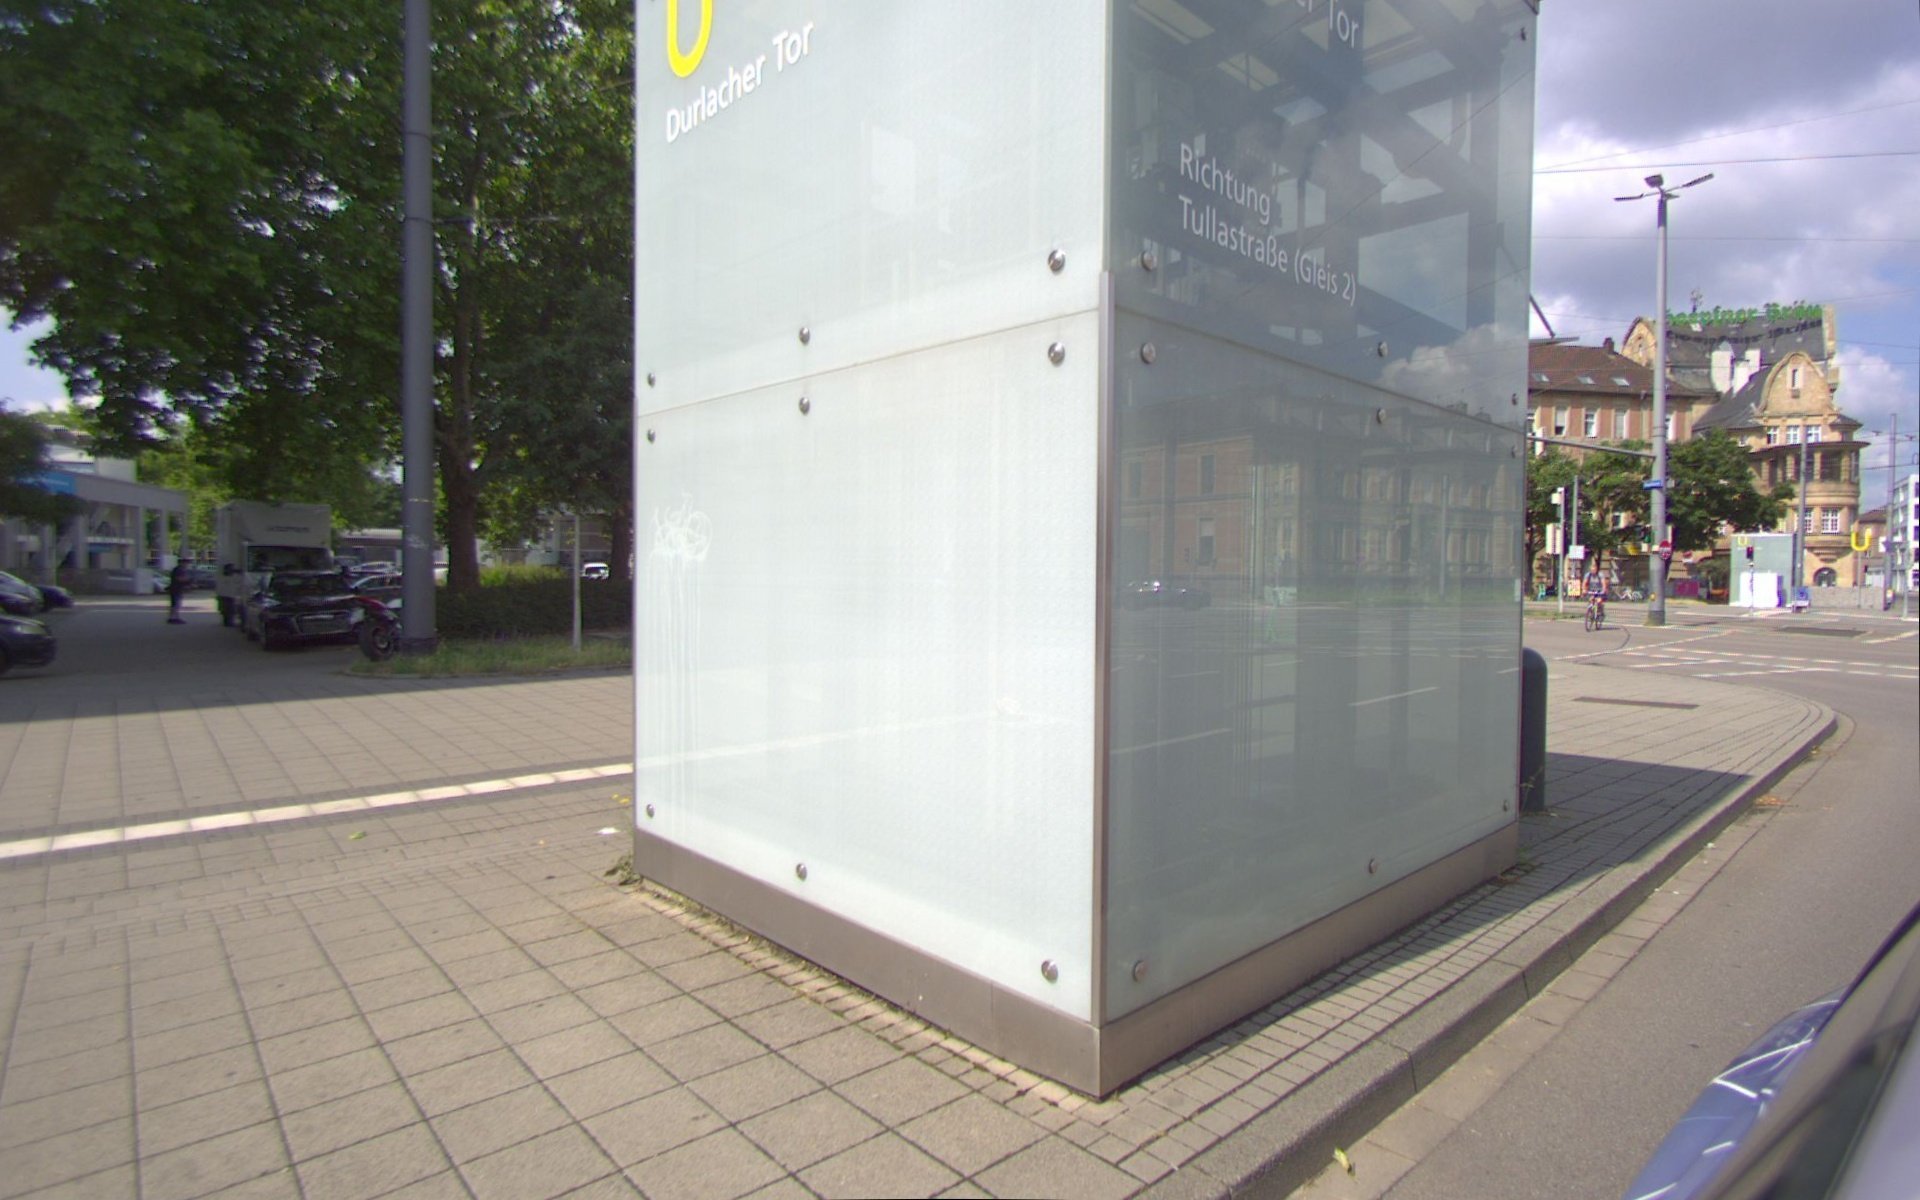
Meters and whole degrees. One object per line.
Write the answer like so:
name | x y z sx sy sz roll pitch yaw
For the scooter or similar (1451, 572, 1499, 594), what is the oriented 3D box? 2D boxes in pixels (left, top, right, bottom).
scooter or similar | 33.693 -1.107 66.250 1.155 1.403 2.810 2 0 -15

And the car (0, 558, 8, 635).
car | -21.119 -0.135 19.440 4.025 1.533 1.806 2 0 -42

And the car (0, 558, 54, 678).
car | -13.951 0.220 12.545 4.026 1.533 1.806 -1 2 -42

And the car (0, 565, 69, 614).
car | -31.744 -0.417 34.805 1.633 1.571 3.994 -1 2 -41

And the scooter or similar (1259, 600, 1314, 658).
scooter or similar | 7.141 0.628 22.158 1.045 1.212 0.381 2 0 3

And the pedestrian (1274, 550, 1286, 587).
pedestrian | 28.014 -2.771 88.697 0.655 3.160 0.888 2 0 0

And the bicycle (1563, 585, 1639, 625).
bicycle | 19.116 0.142 30.168 2.152 1.083 0.879 -2 2 -25

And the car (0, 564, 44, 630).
car | -23.854 -0.116 23.316 4.025 1.533 1.806 2 0 -42

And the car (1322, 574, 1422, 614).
car | 15.467 -0.256 38.210 1.833 1.393 3.946 0 2 -6

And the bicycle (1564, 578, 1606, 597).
bicycle | 40.291 -0.813 65.306 0.746 1.180 2.689 0 2 -7

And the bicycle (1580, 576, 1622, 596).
bicycle | 41.444 -0.929 65.472 0.746 1.180 2.689 2 2 -7

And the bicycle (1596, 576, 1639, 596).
bicycle | 42.518 -0.918 65.449 0.746 1.180 2.689 0 2 -7

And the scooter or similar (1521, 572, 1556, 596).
scooter or similar | 37.875 -1.051 66.299 0.862 1.500 2.019 0 4 -9

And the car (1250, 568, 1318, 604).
car | 14.623 -0.619 45.821 1.657 1.488 3.659 2 0 -4

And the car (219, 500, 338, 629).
car | -18.723 -0.962 27.620 1.965 3.080 7.241 -1 2 -40

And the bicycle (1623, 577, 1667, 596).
bicycle | 44.584 -0.872 65.901 0.746 1.180 2.689 0 2 -6

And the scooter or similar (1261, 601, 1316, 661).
scooter or similar | 7.017 0.655 21.637 1.049 1.212 0.380 2 0 13

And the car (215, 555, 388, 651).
car | -13.413 -0.020 20.540 3.985 1.727 1.970 2 2 42

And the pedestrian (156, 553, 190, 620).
pedestrian | -21.969 -0.379 28.245 0.622 1.822 0.740 2 0 -44

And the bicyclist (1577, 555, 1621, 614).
bicyclist | 18.992 -0.463 30.067 1.125 1.696 0.616 2 0 -31

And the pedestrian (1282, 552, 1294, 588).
pedestrian | 28.742 -2.609 88.716 0.713 3.115 0.888 2 0 0

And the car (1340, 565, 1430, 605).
car | 17.809 -0.668 42.587 1.960 1.593 3.741 0 2 -4

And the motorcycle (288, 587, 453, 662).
motorcycle | -9.088 0.341 15.748 0.959 1.043 2.288 -1 1 10

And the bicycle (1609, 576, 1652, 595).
bicycle | 43.497 -0.939 65.677 0.746 1.180 2.689 0 2 -7
